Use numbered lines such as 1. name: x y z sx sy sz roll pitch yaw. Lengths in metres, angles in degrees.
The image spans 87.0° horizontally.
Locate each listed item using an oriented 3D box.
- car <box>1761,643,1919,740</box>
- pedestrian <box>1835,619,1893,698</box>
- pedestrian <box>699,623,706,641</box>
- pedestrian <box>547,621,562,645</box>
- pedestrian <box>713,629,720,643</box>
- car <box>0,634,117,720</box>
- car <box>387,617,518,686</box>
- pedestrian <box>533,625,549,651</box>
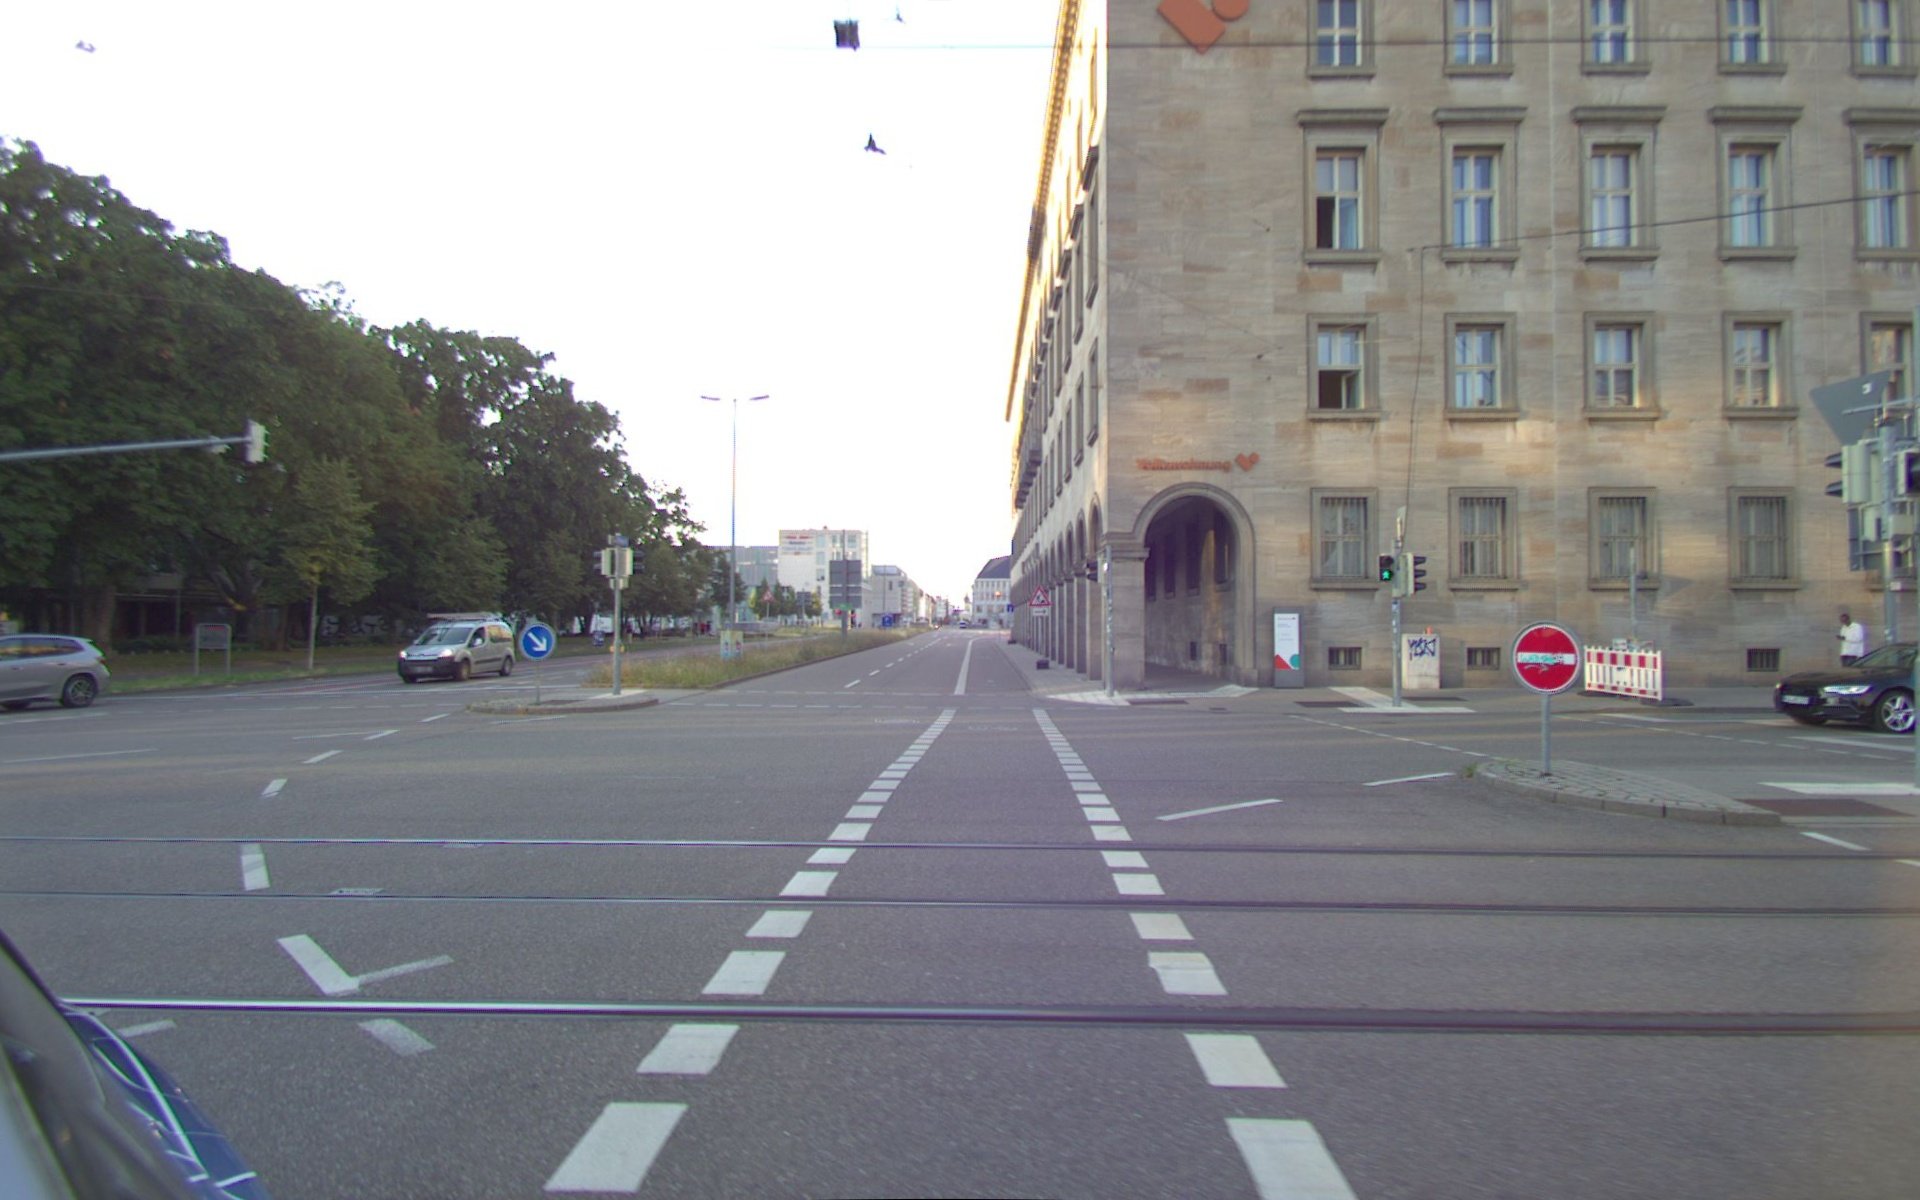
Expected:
1. car: 15.750 1.437 16.377 4.174 1.438 1.647 0 -1 1
2. pedestrian: 20.032 1.287 22.440 0.638 1.723 0.697 0 -1 4
3. pedestrian: -24.928 3.093 97.887 0.621 1.678 0.647 1 -2 -12
4. pedestrian: -25.614 2.062 63.899 0.668 1.508 0.645 0 -1 2
5. pedestrian: -23.442 3.468 97.236 0.621 1.406 0.647 1 -2 -12
6. car: -19.871 1.554 20.480 1.862 1.676 4.341 0 -1 3
7. car: -15.143 1.491 30.488 1.780 1.926 4.465 0 -1 -1
8. pedestrian: -26.432 2.418 63.848 0.638 1.606 0.677 -1 -1 4
